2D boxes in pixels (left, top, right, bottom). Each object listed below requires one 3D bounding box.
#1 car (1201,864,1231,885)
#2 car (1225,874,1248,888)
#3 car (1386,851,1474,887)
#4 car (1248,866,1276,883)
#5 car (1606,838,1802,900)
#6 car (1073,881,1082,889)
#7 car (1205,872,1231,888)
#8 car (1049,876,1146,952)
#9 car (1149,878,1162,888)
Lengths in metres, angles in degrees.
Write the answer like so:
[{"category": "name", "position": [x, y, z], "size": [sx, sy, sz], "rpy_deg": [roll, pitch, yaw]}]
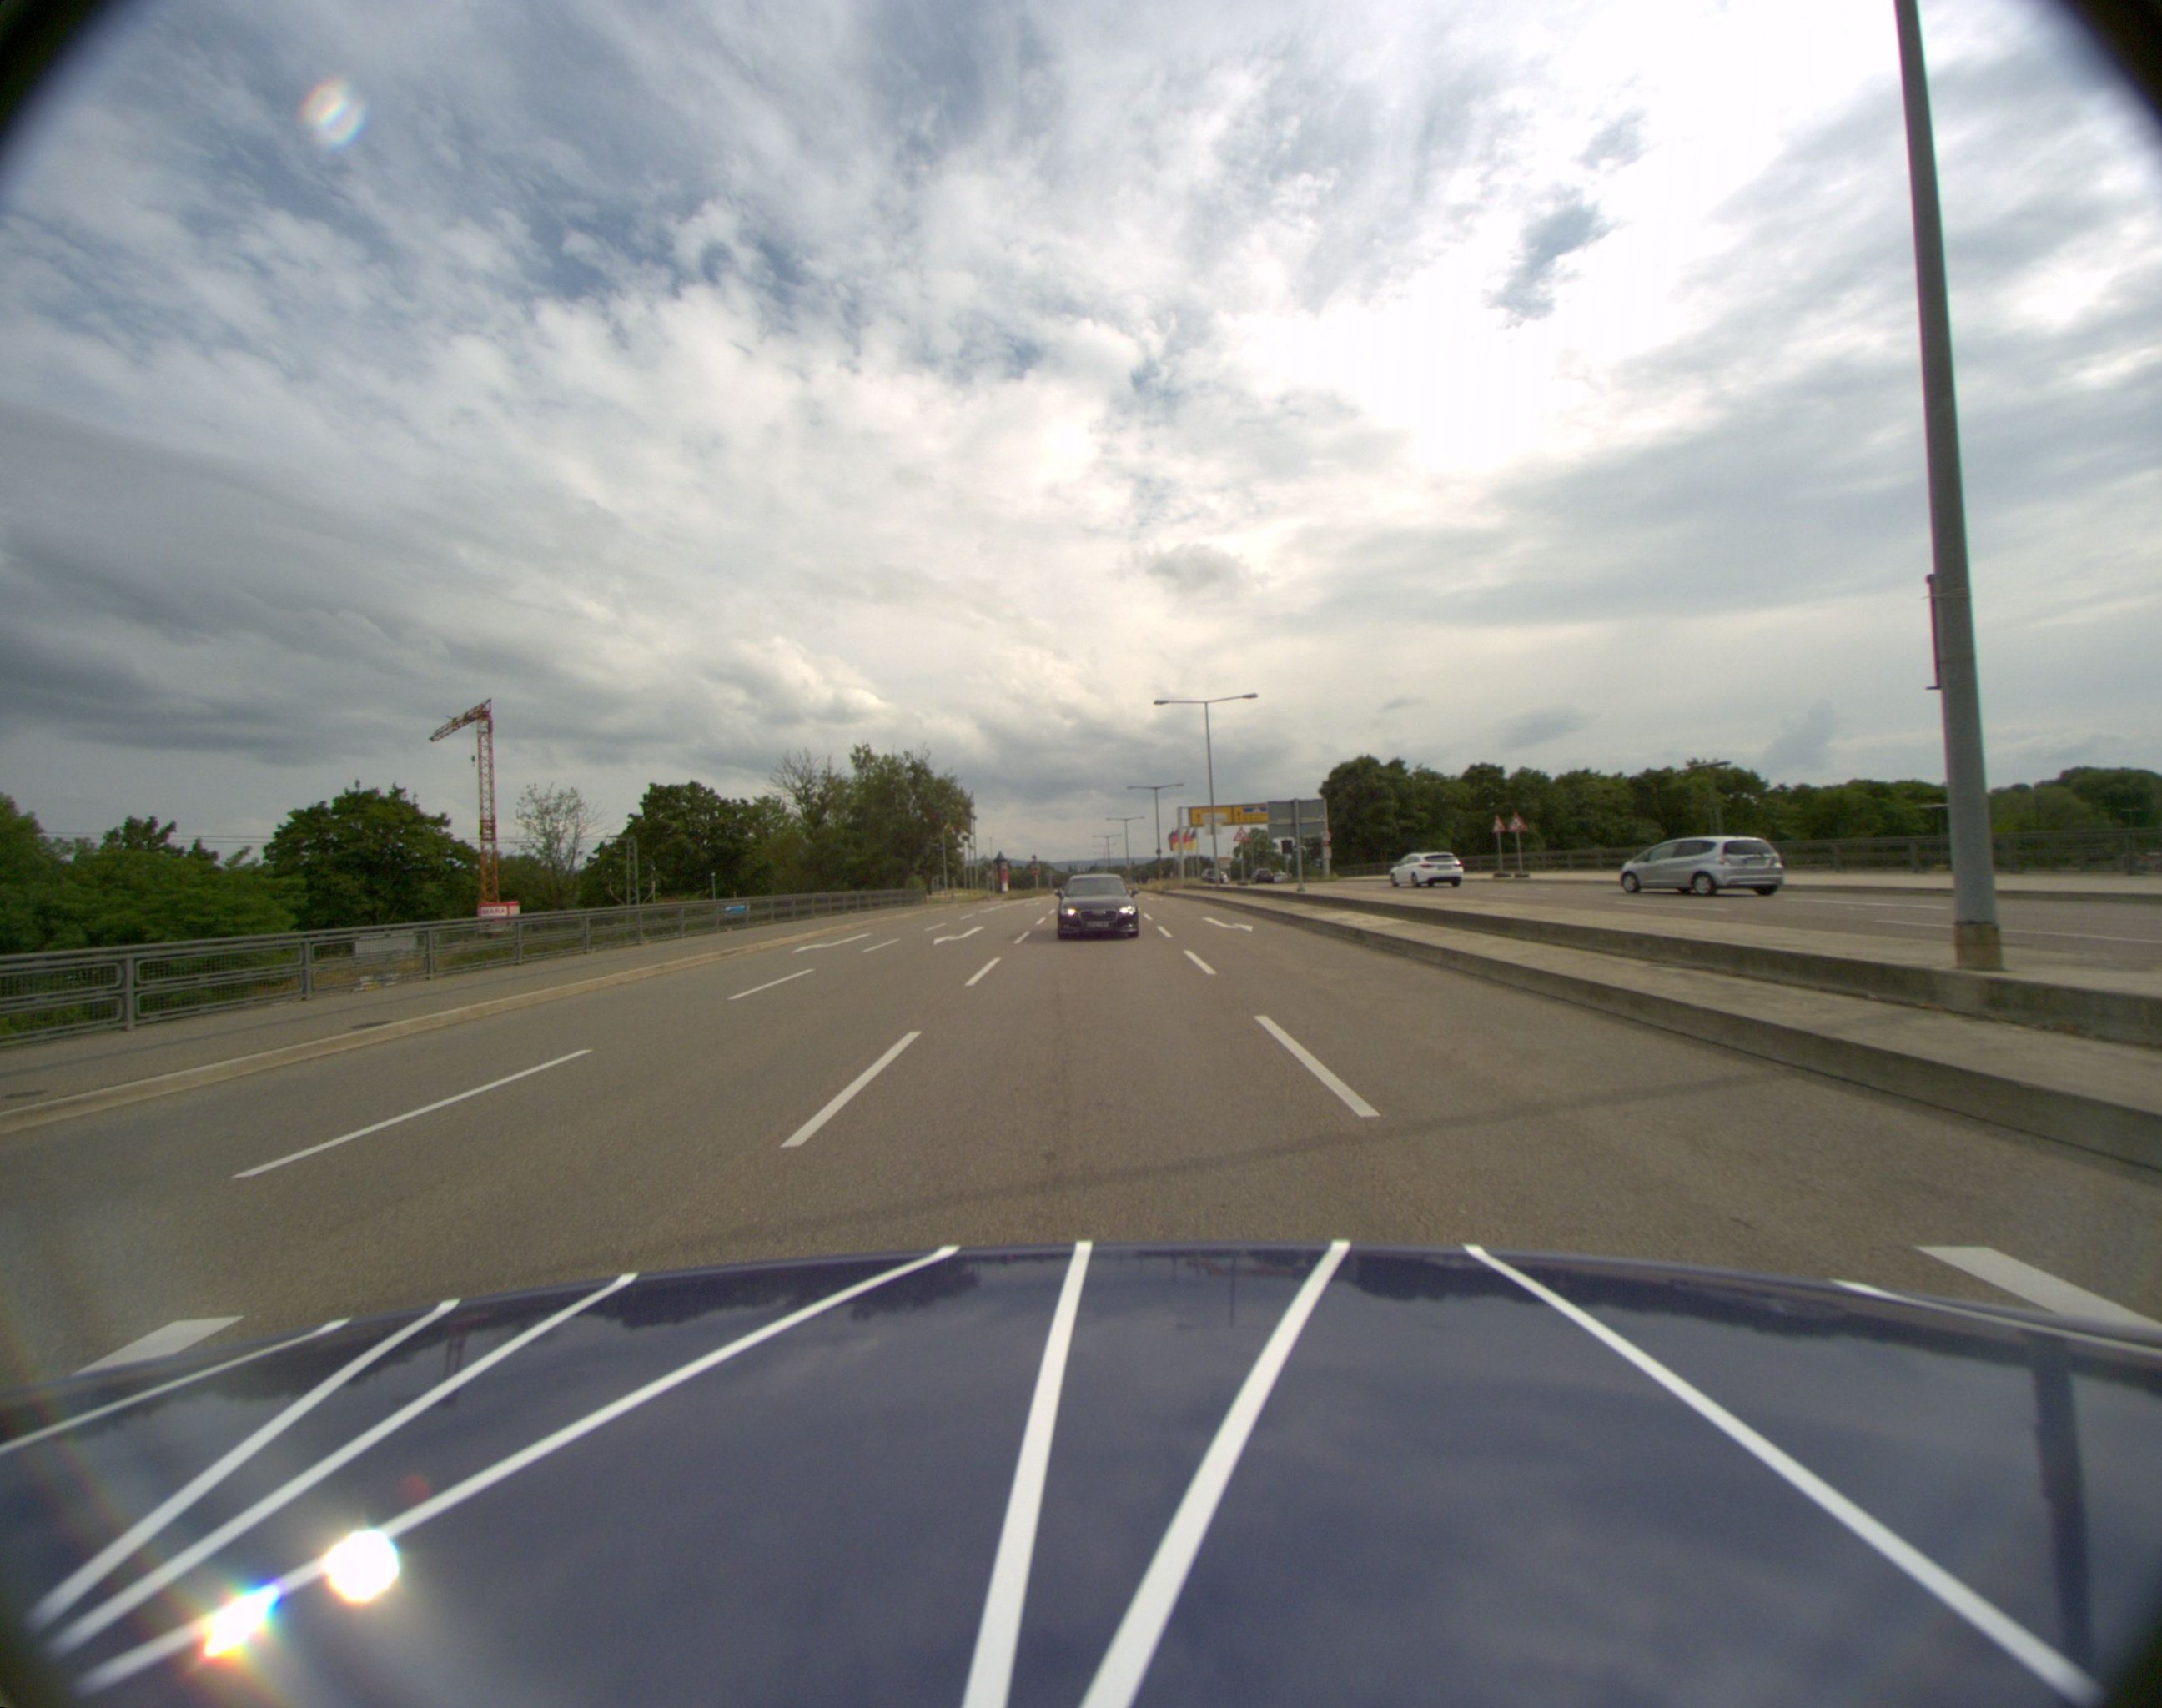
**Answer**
[{"category": "car", "position": [11.916, 1.802, 67.170], "size": [1.891, 1.630, 4.586], "rpy_deg": [-3, -1, 1]}, {"category": "car", "position": [19.350, 3.343, 94.778], "size": [1.892, 1.522, 4.454], "rpy_deg": [-3, -1, 1]}, {"category": "car", "position": [15.148, 0.667, 33.316], "size": [1.923, 1.407, 4.884], "rpy_deg": [-2, -1, 5]}, {"category": "car", "position": [18.792, 2.133, 79.118], "size": [1.891, 1.630, 4.547], "rpy_deg": [-3, -1, 1]}, {"category": "car", "position": [16.313, 0.367, 20.201], "size": [1.813, 1.407, 4.029], "rpy_deg": [-2, 0, -1]}, {"category": "car", "position": [-0.781, 6.376, 154.589], "size": [1.745, 1.467, 3.813], "rpy_deg": [-3, -1, 0]}, {"category": "car", "position": [14.642, 2.768, 81.316], "size": [1.892, 1.630, 4.219], "rpy_deg": [-3, -1, 0]}, {"category": "car", "position": [0.343, 1.240, 17.156], "size": [1.852, 1.355, 4.730], "rpy_deg": [-2, -1, 0]}, {"category": "car", "position": [12.757, 5.022, 130.713], "size": [1.727, 1.522, 3.918], "rpy_deg": [-3, -1, -1]}]
